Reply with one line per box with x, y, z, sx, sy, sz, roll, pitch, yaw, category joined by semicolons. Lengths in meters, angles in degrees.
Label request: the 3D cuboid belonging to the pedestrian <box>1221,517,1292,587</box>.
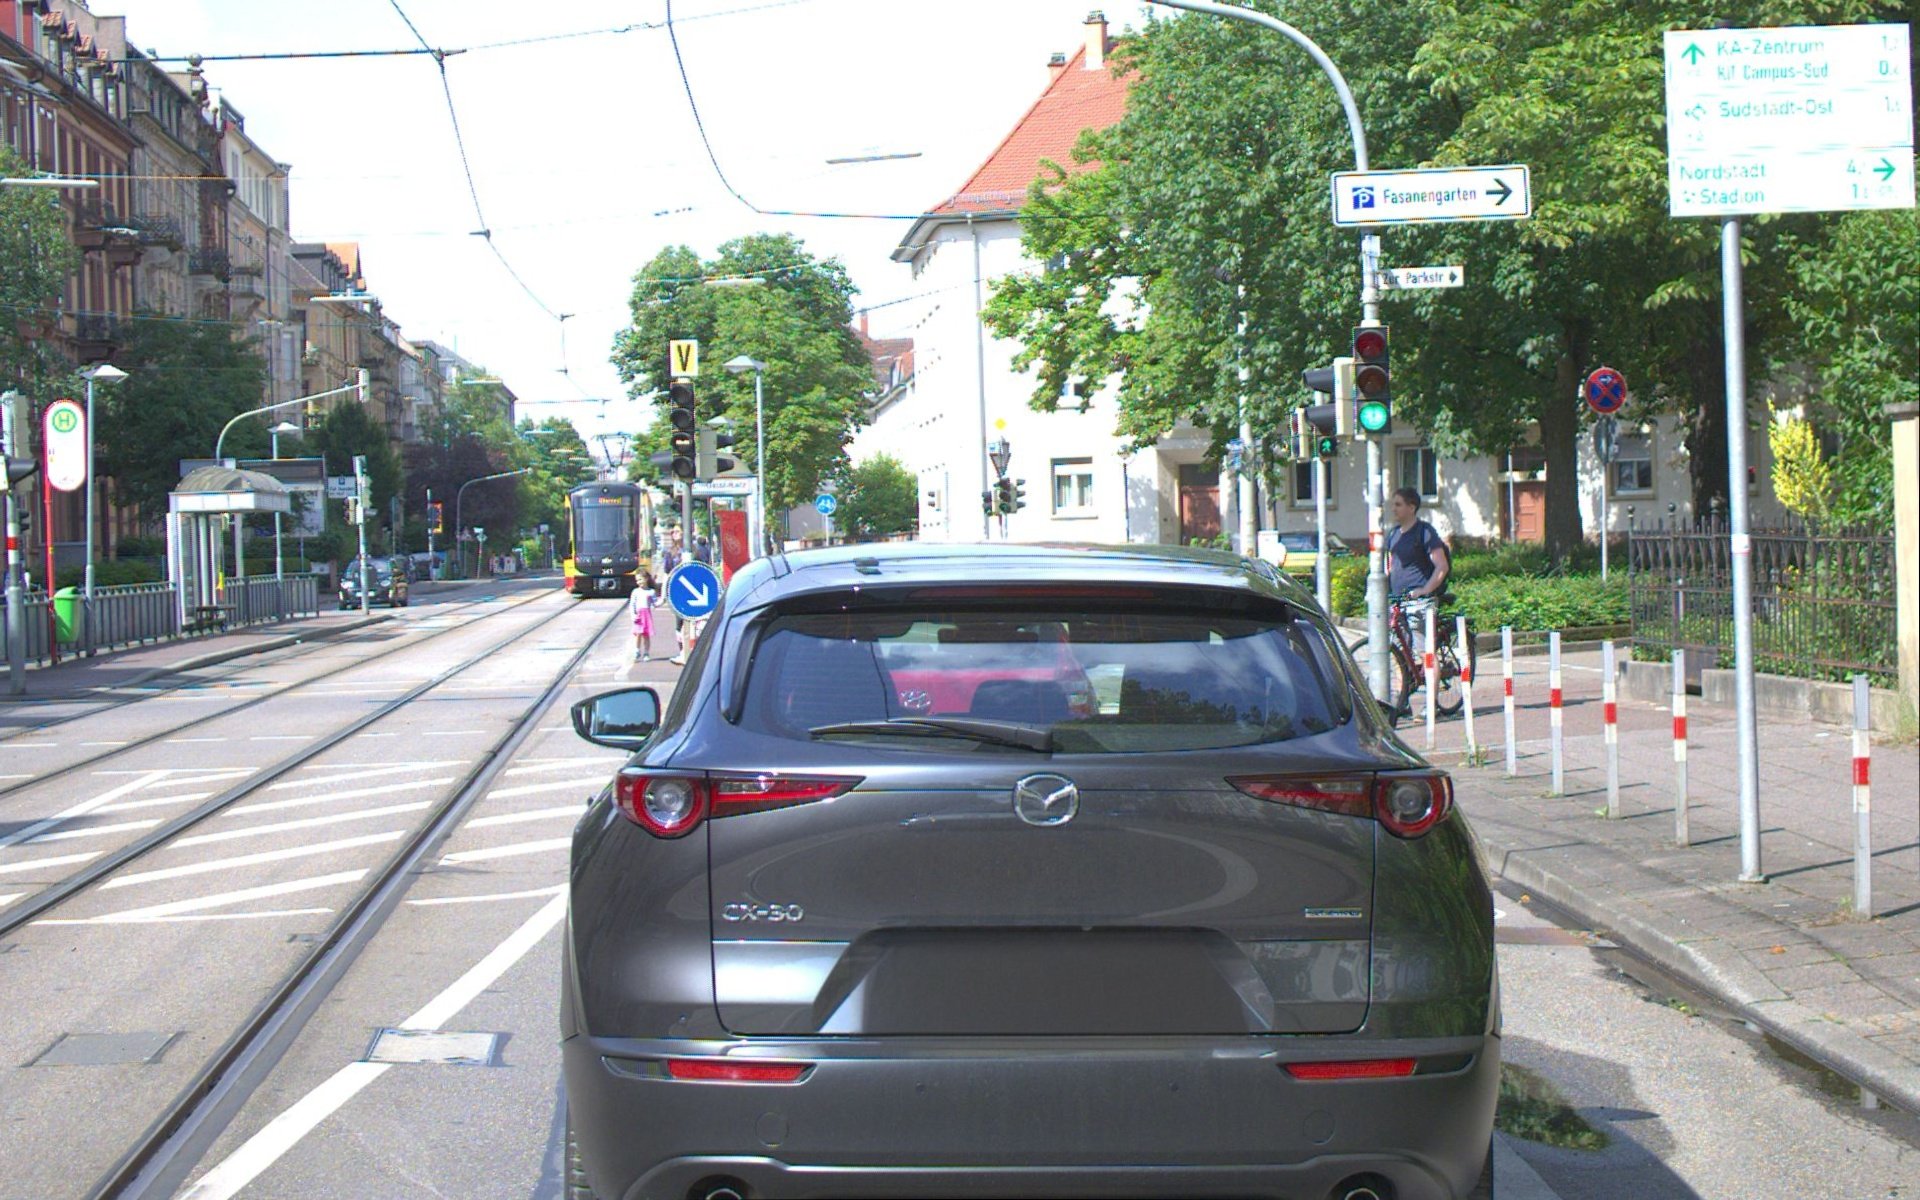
5.666;-0.921;65.768;1.192;1.264;0.558;-4;1;-9;pedestrian

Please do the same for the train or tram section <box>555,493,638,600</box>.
-14.316;-2.024;136.130;2.997;3.970;13.811;-2;0;-5;train or tram section

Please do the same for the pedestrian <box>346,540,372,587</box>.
-21.588;-1.320;123.583;0.788;1.682;0.732;-1;1;-3;pedestrian

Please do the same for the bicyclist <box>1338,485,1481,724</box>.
3.505;0.026;26.845;0.733;1.813;0.820;-2;1;-27;bicyclist

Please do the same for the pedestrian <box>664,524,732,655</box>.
-3.205;-0.136;41.945;0.728;1.560;0.799;-2;1;-9;pedestrian

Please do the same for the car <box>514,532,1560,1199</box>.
0.119;0.626;7.901;1.782;1.509;4.000;1;1;0;car

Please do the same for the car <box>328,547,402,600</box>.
-16.811;-0.760;97.219;1.624;1.382;3.437;-3;1;-4;car

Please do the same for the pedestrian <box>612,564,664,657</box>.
-3.955;0.126;42.196;0.437;1.104;0.423;-4;1;-26;pedestrian

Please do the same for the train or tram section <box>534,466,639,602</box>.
-11.707;-1.971;108.629;2.997;3.970;13.811;-2;0;-5;train or tram section

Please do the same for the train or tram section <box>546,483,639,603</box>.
-13.004;-1.932;122.432;2.997;3.970;13.811;-2;0;-5;train or tram section

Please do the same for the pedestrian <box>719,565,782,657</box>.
-2.578;0.135;42.353;0.443;1.110;0.642;-1;1;37;pedestrian

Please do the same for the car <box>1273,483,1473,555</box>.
9.450;-1.858;78.832;4.167;1.504;1.848;0;3;38;car

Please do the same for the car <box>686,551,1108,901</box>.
-0.360;0.507;16.442;1.775;1.459;3.843;0;1;-3;car

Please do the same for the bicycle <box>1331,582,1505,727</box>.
3.608;0.413;26.965;0.389;1.032;1.841;-1;2;40;bicycle

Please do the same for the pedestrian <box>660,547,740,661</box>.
-3.115;0.040;41.139;0.825;1.299;0.717;-4;1;-9;pedestrian
